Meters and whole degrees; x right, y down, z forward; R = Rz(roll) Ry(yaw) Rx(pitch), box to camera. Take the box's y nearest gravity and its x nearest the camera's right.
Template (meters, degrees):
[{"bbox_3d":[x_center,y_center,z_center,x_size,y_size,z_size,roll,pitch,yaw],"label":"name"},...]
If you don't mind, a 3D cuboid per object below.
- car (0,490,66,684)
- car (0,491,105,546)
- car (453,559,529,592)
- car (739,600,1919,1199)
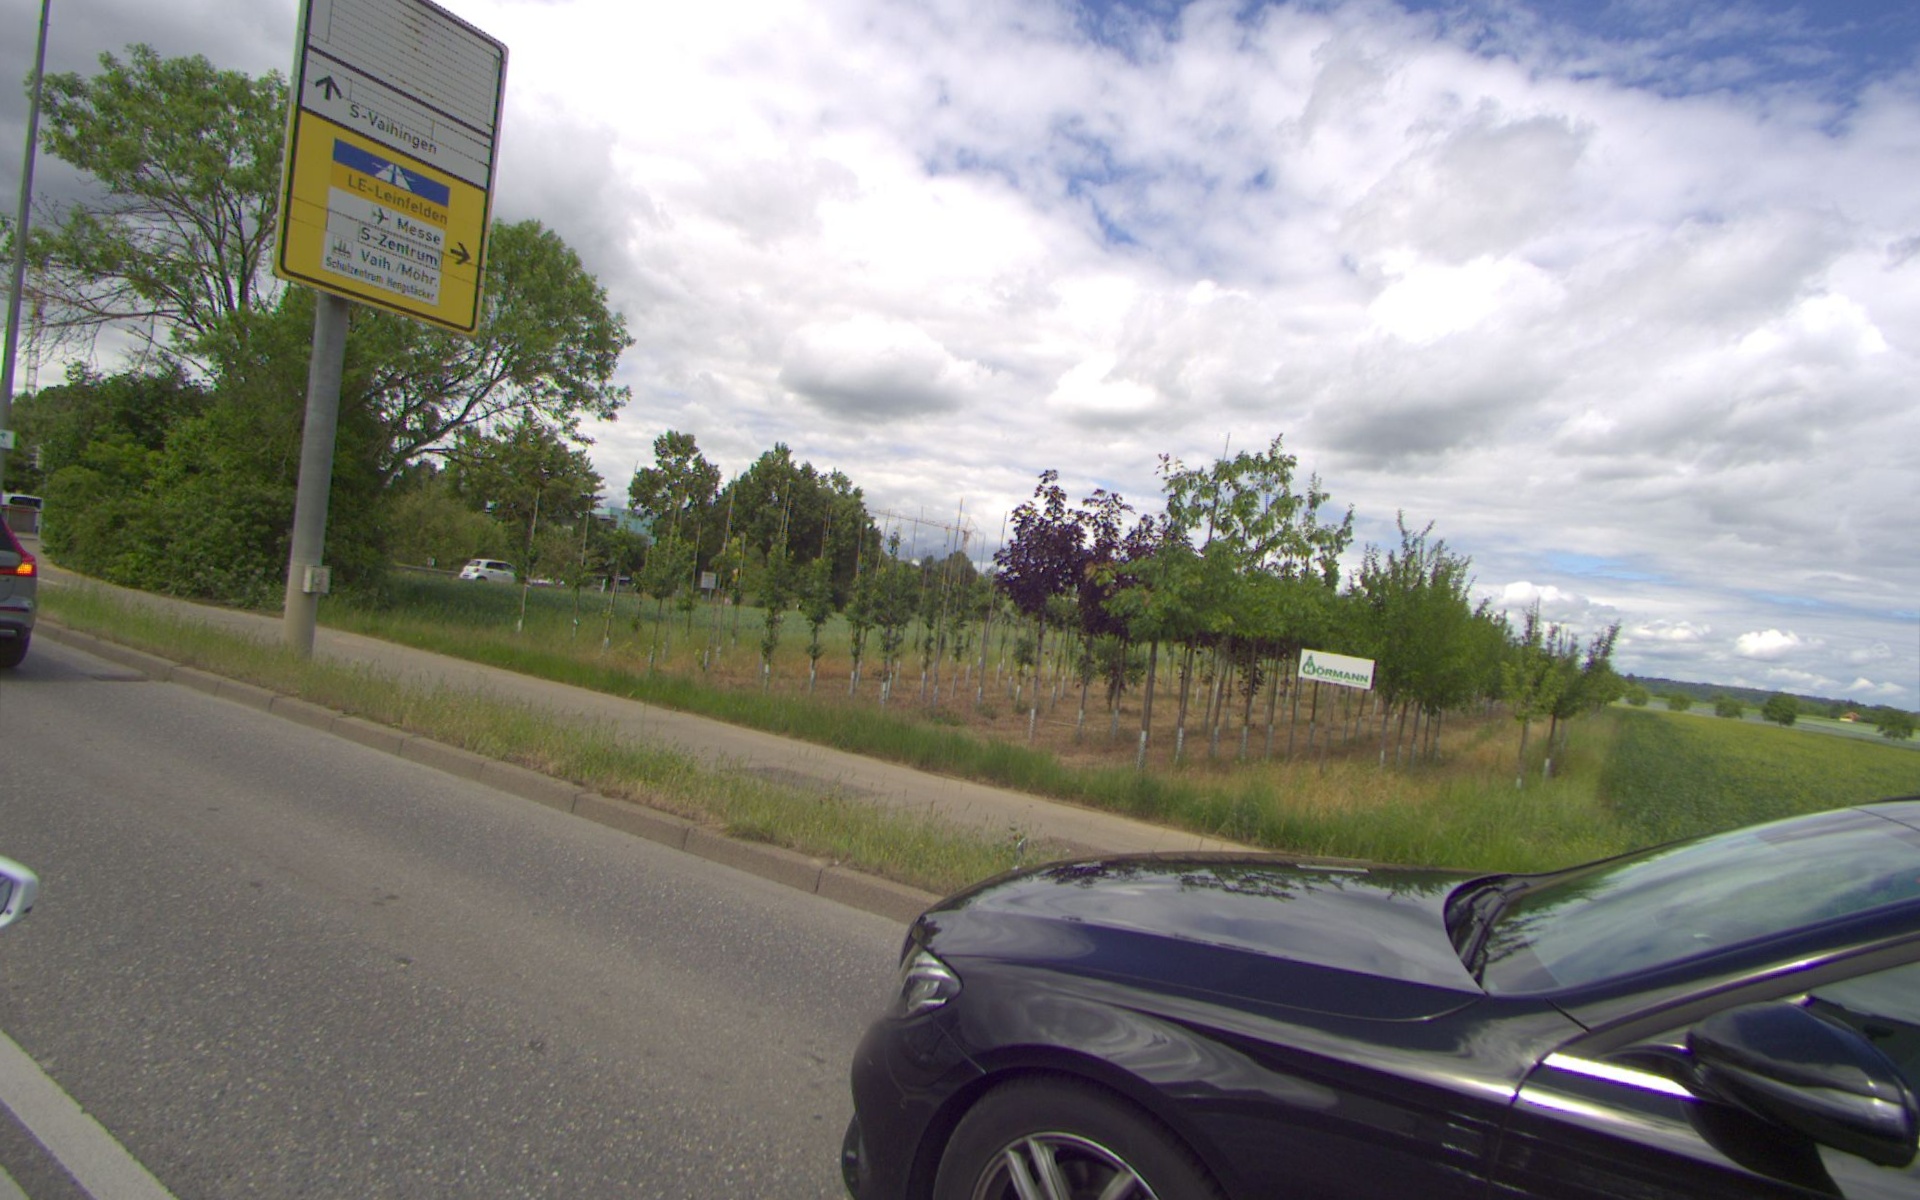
[{"bbox_3d":[-9.747,-0.357,8.668,4.373,1.537,1.864,7,0,33],"label":"car"},{"bbox_3d":[-35.028,-3.149,37.718,1.963,1.615,4.000,7,-1,22],"label":"car"},{"bbox_3d":[-24.783,-1.279,53.265,1.657,1.361,3.392,7,-1,18],"label":"car"},{"bbox_3d":[2.243,1.054,1.675,5.111,1.458,1.875,7,0,30],"label":"car"}]
